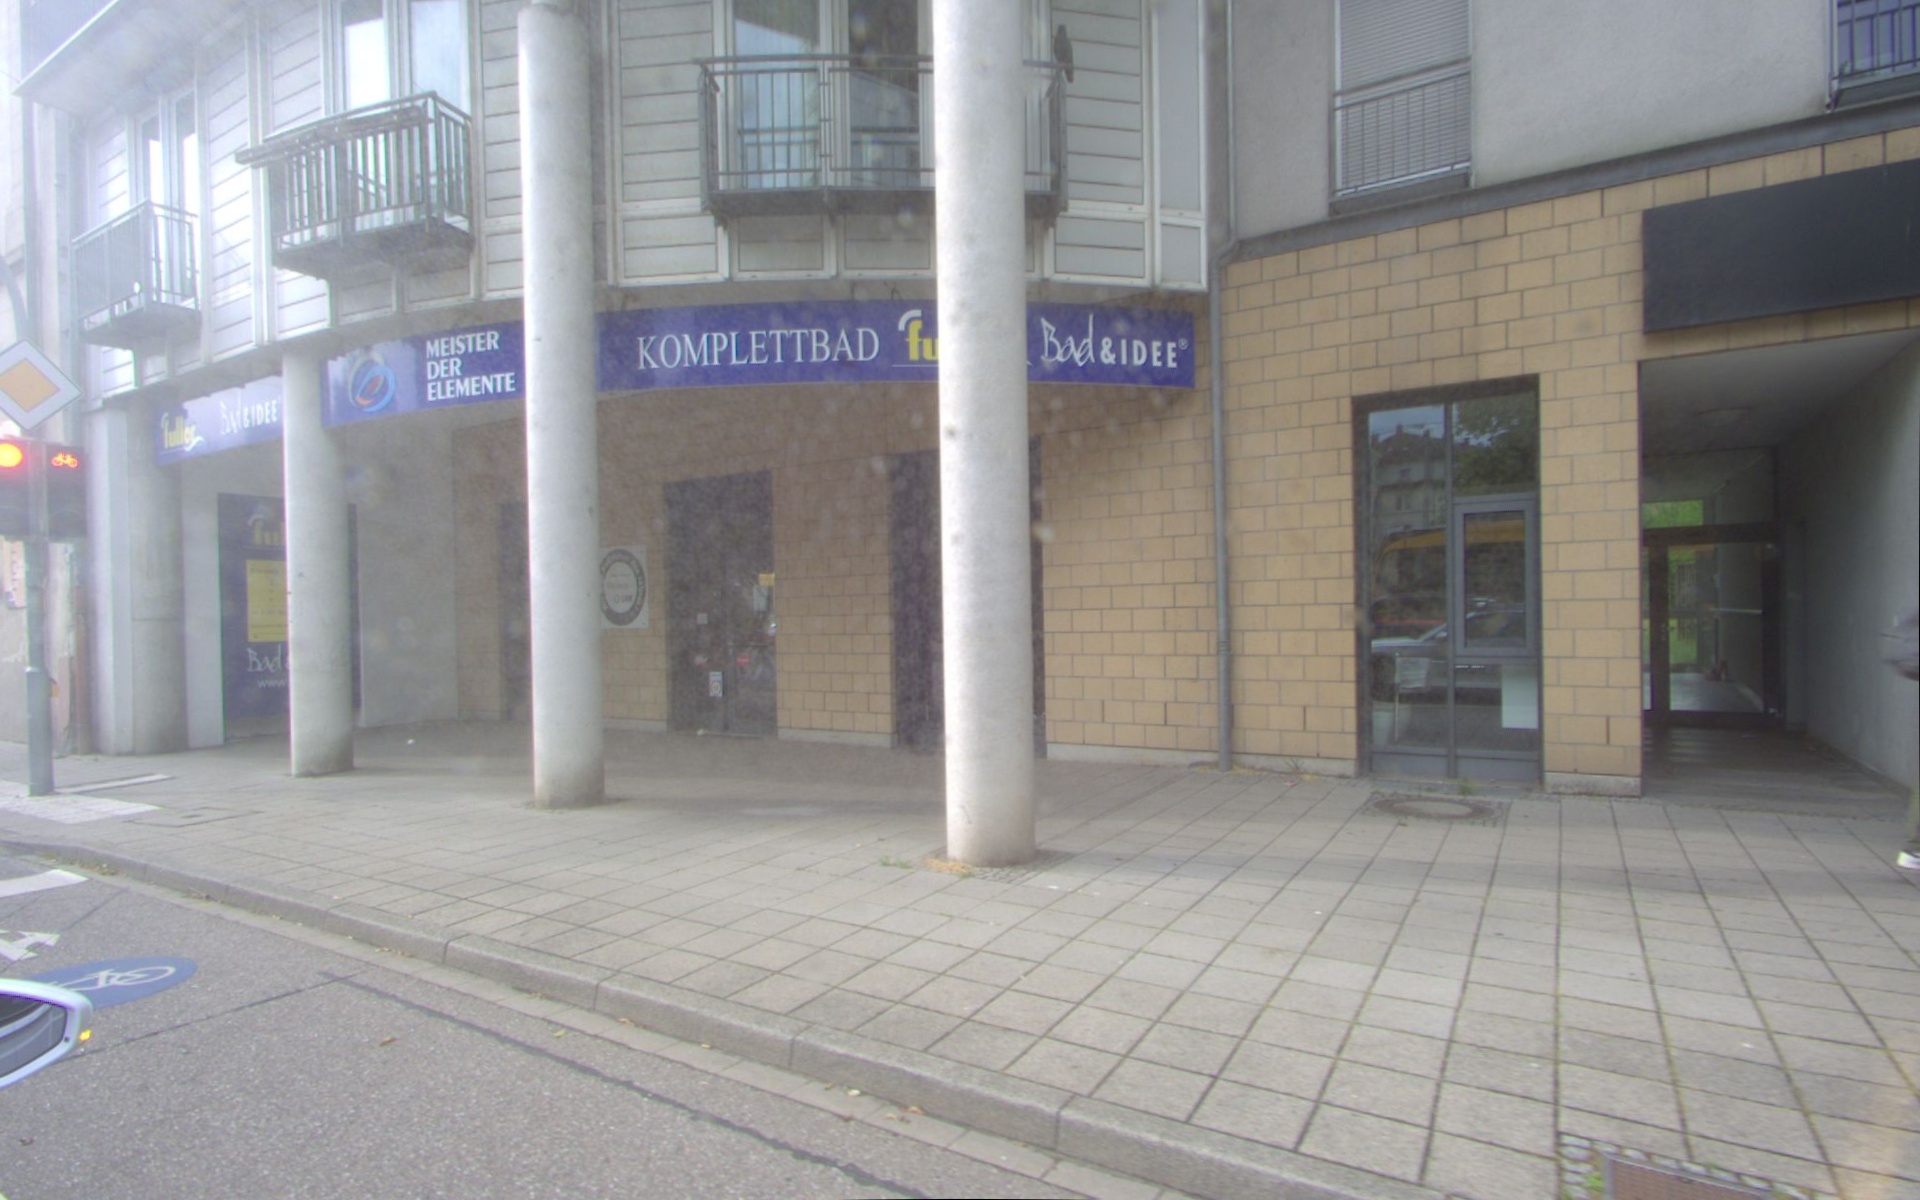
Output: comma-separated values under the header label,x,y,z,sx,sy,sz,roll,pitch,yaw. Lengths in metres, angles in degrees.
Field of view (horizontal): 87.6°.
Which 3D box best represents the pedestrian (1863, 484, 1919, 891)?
label,x,y,z,sx,sy,sz,roll,pitch,yaw
pedestrian,4.928,0.408,4.839,0.727,1.915,0.673,-1,1,33
